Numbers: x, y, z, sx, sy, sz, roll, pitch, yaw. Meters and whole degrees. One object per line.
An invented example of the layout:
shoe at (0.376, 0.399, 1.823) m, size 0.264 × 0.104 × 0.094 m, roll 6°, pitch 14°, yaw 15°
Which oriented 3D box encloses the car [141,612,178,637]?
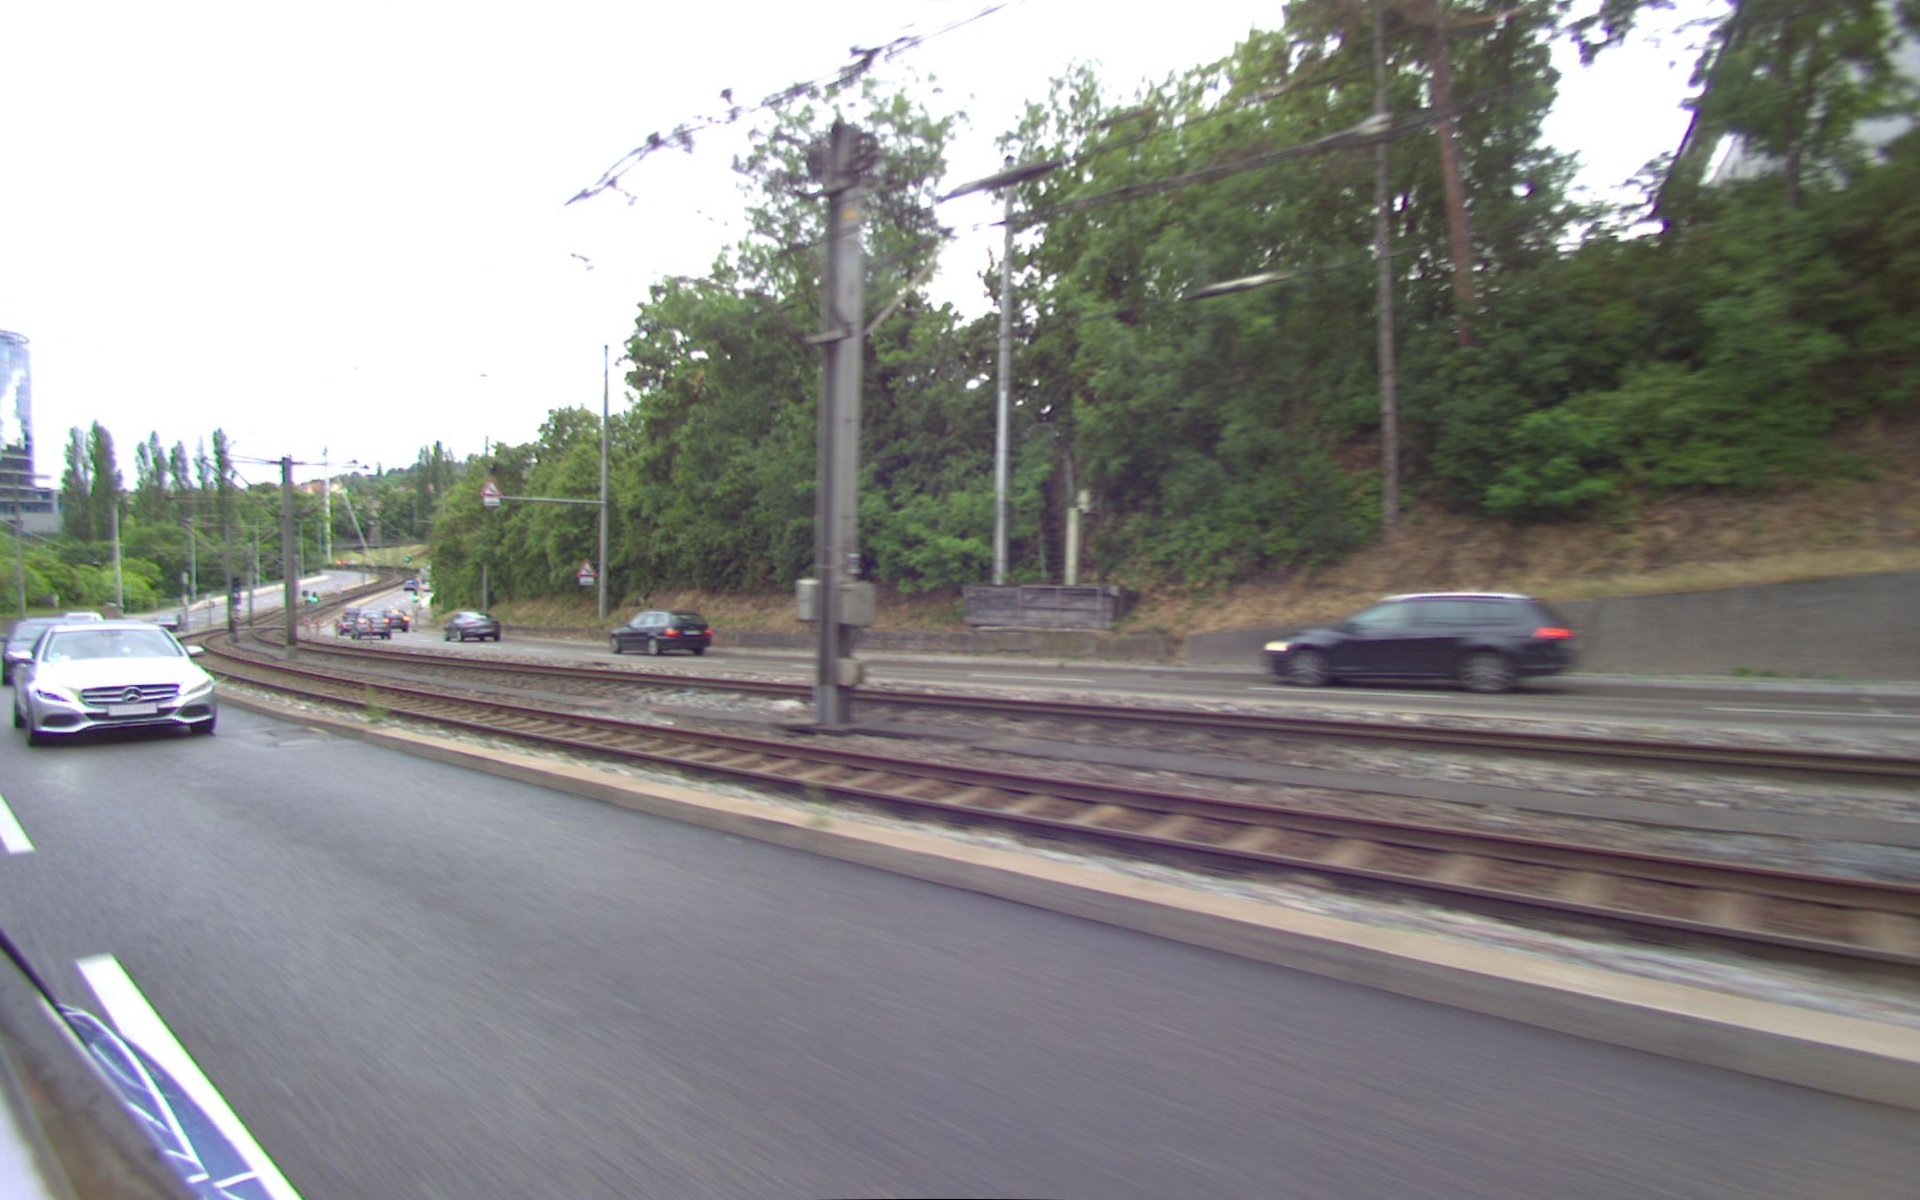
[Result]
car at (-70.330, 2.132, 88.966) m, size 1.966 × 2.029 × 4.508 m, roll -1°, pitch 0°, yaw -31°

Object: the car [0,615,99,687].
car at (-21.321, 1.133, 23.622) m, size 1.704 × 1.482 × 3.892 m, roll -2°, pitch 0°, yaw -42°

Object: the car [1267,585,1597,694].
car at (7.308, 0.588, 15.896) m, size 4.407 × 1.482 × 1.807 m, roll -1°, pitch -2°, yaw 38°

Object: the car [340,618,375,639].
car at (-38.169, 1.762, 64.082) m, size 1.641 × 1.209 × 4.474 m, roll -2°, pitch 0°, yaw -33°

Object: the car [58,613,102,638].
car at (-64.636, 1.843, 74.368) m, size 1.781 × 1.521 × 4.012 m, roll -3°, pitch 4°, yaw -32°

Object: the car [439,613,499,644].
car at (-23.553, 1.355, 48.486) m, size 1.778 × 1.434 × 4.472 m, roll 1°, pitch -2°, yaw -37°

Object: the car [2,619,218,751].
car at (-11.275, 0.978, 13.311) m, size 1.835 × 1.413 × 4.317 m, roll 0°, pitch -1°, yaw -45°

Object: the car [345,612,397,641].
car at (-31.701, 1.414, 54.379) m, size 1.880 × 1.469 × 4.472 m, roll 0°, pitch -1°, yaw -37°

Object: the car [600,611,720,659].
car at (-9.609, 1.082, 32.214) m, size 1.871 × 1.392 × 4.457 m, roll 0°, pitch -1°, yaw -43°

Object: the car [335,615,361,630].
car at (-63.207, 2.326, 104.619) m, size 2.178 × 1.469 × 4.476 m, roll -2°, pitch 0°, yaw -30°
